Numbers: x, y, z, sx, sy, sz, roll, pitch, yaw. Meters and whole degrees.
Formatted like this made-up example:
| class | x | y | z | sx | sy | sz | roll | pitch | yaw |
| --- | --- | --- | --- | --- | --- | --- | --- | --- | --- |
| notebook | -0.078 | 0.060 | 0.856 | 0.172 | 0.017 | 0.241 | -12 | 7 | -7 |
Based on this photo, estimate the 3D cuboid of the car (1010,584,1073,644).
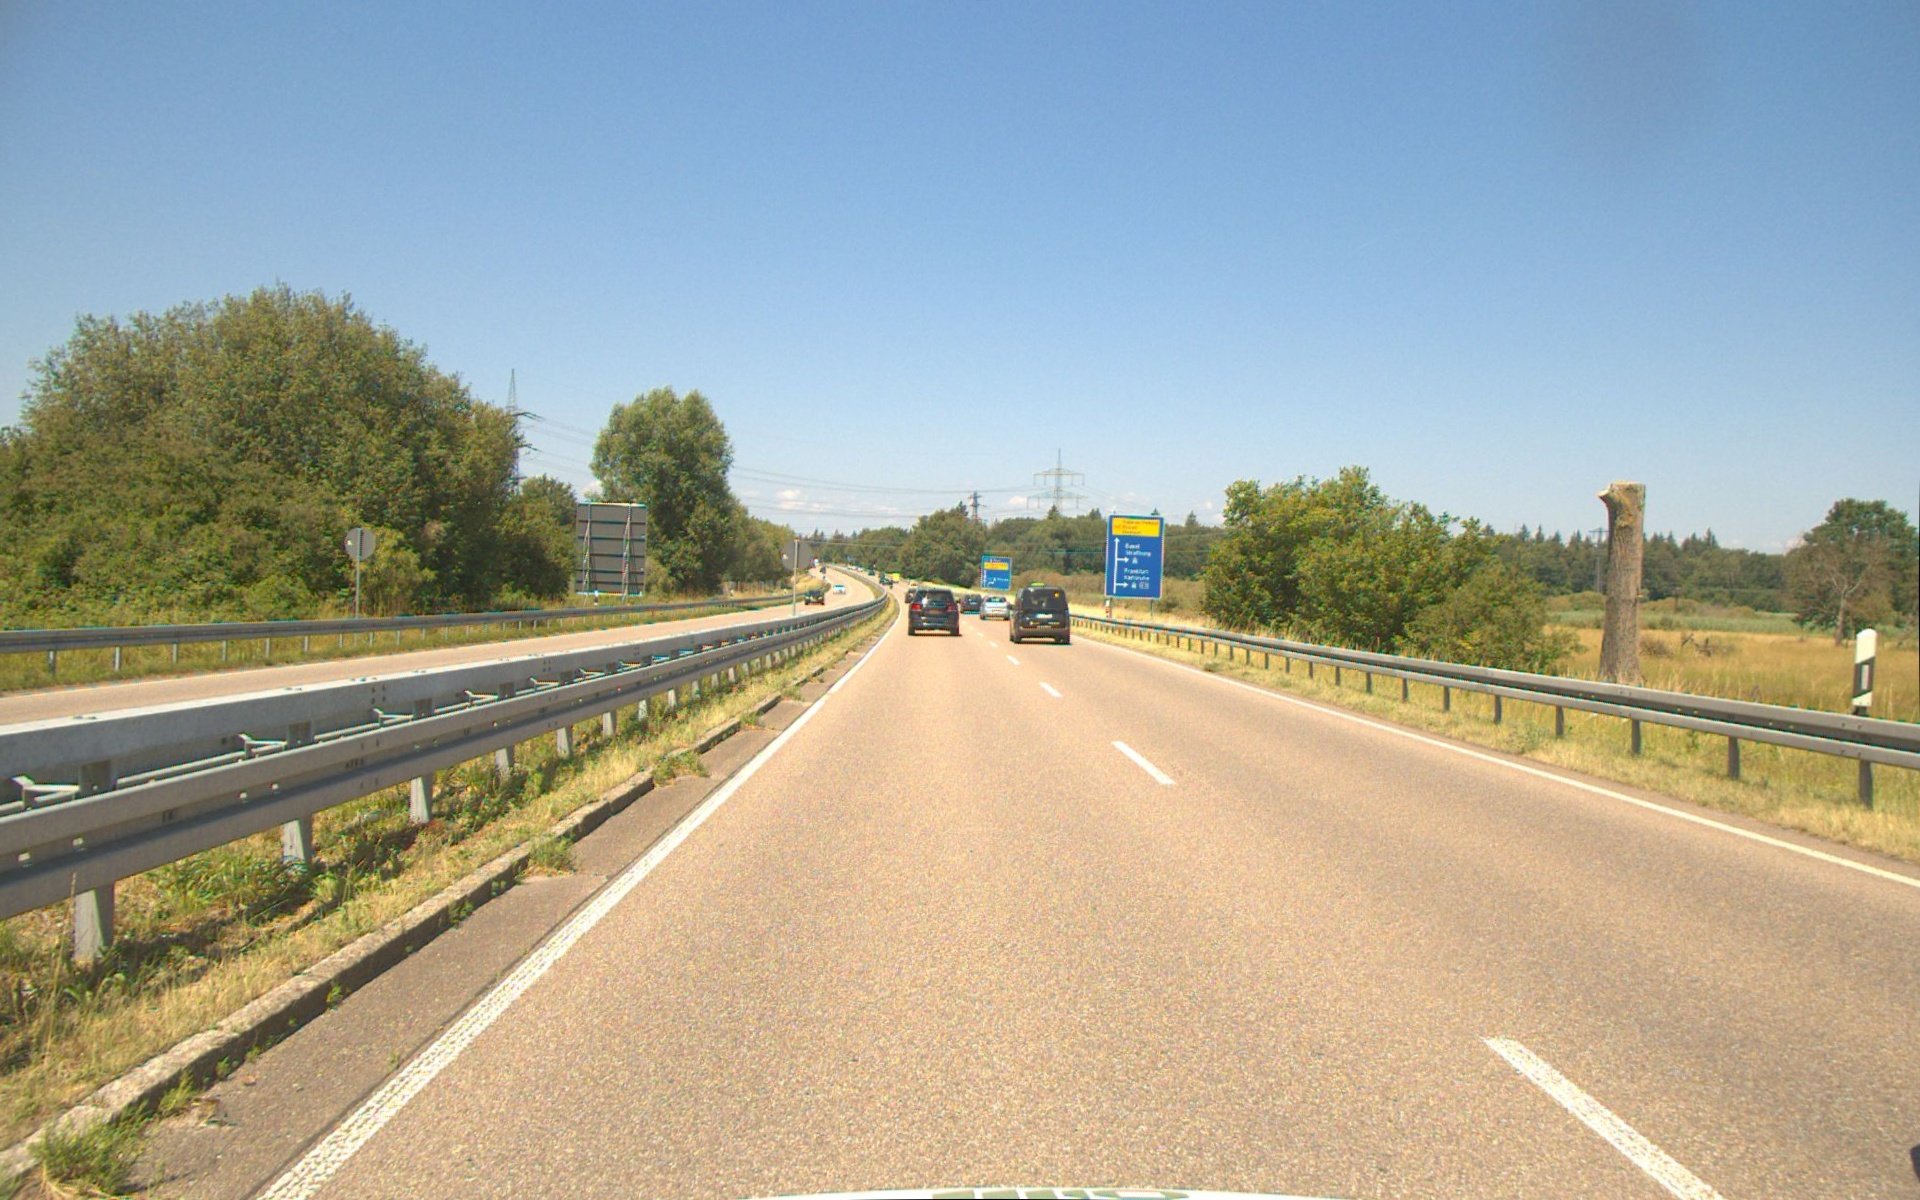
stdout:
| class | x | y | z | sx | sy | sz | roll | pitch | yaw |
| --- | --- | --- | --- | --- | --- | --- | --- | --- | --- |
| car | 2.648 | 0.435 | 54.466 | 1.743 | 1.848 | 4.212 | 1 | 0 | -1 |

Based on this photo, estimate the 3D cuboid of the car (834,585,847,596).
| class | x | y | z | sx | sy | sz | roll | pitch | yaw |
| --- | --- | --- | --- | --- | --- | --- | --- | --- | --- |
| car | -18.269 | -1.435 | 253.553 | 1.790 | 1.524 | 4.101 | 2 | 0 | -2 |

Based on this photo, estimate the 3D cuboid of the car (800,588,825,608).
| class | x | y | z | sx | sy | sz | roll | pitch | yaw |
| --- | --- | --- | --- | --- | --- | --- | --- | --- | --- |
| car | -14.039 | -0.188 | 157.393 | 1.953 | 1.665 | 4.872 | 4 | 1 | -1 |

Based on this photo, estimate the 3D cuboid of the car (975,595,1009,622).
| class | x | y | z | sx | sy | sz | roll | pitch | yaw |
| --- | --- | --- | --- | --- | --- | --- | --- | --- | --- |
| car | 1.909 | 0.495 | 98.909 | 1.743 | 1.505 | 4.313 | 1 | 0 | -2 |

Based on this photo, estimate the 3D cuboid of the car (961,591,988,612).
| class | x | y | z | sx | sy | sz | roll | pitch | yaw |
| --- | --- | --- | --- | --- | --- | --- | --- | --- | --- |
| car | 1.061 | 0.081 | 122.226 | 1.782 | 1.439 | 3.999 | 1 | 1 | -1 |

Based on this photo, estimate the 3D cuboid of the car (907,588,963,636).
| class | x | y | z | sx | sy | sz | roll | pitch | yaw |
| --- | --- | --- | --- | --- | --- | --- | --- | --- | --- |
| car | -0.967 | 0.421 | 61.651 | 1.954 | 1.683 | 3.998 | 1 | 0 | -3 |

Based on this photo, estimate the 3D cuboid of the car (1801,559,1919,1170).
| class | x | y | z | sx | sy | sz | roll | pitch | yaw |
| --- | --- | --- | --- | --- | --- | --- | --- | --- | --- |
| car | 3.406 | 0.709 | 2.869 | 1.749 | 1.580 | 4.018 | 0 | 1 | -2 |

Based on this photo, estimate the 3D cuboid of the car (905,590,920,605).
| class | x | y | z | sx | sy | sz | roll | pitch | yaw |
| --- | --- | --- | --- | --- | --- | --- | --- | --- | --- |
| car | -5.110 | -0.288 | 179.251 | 1.485 | 1.500 | 3.065 | 4 | 0 | -3 |
